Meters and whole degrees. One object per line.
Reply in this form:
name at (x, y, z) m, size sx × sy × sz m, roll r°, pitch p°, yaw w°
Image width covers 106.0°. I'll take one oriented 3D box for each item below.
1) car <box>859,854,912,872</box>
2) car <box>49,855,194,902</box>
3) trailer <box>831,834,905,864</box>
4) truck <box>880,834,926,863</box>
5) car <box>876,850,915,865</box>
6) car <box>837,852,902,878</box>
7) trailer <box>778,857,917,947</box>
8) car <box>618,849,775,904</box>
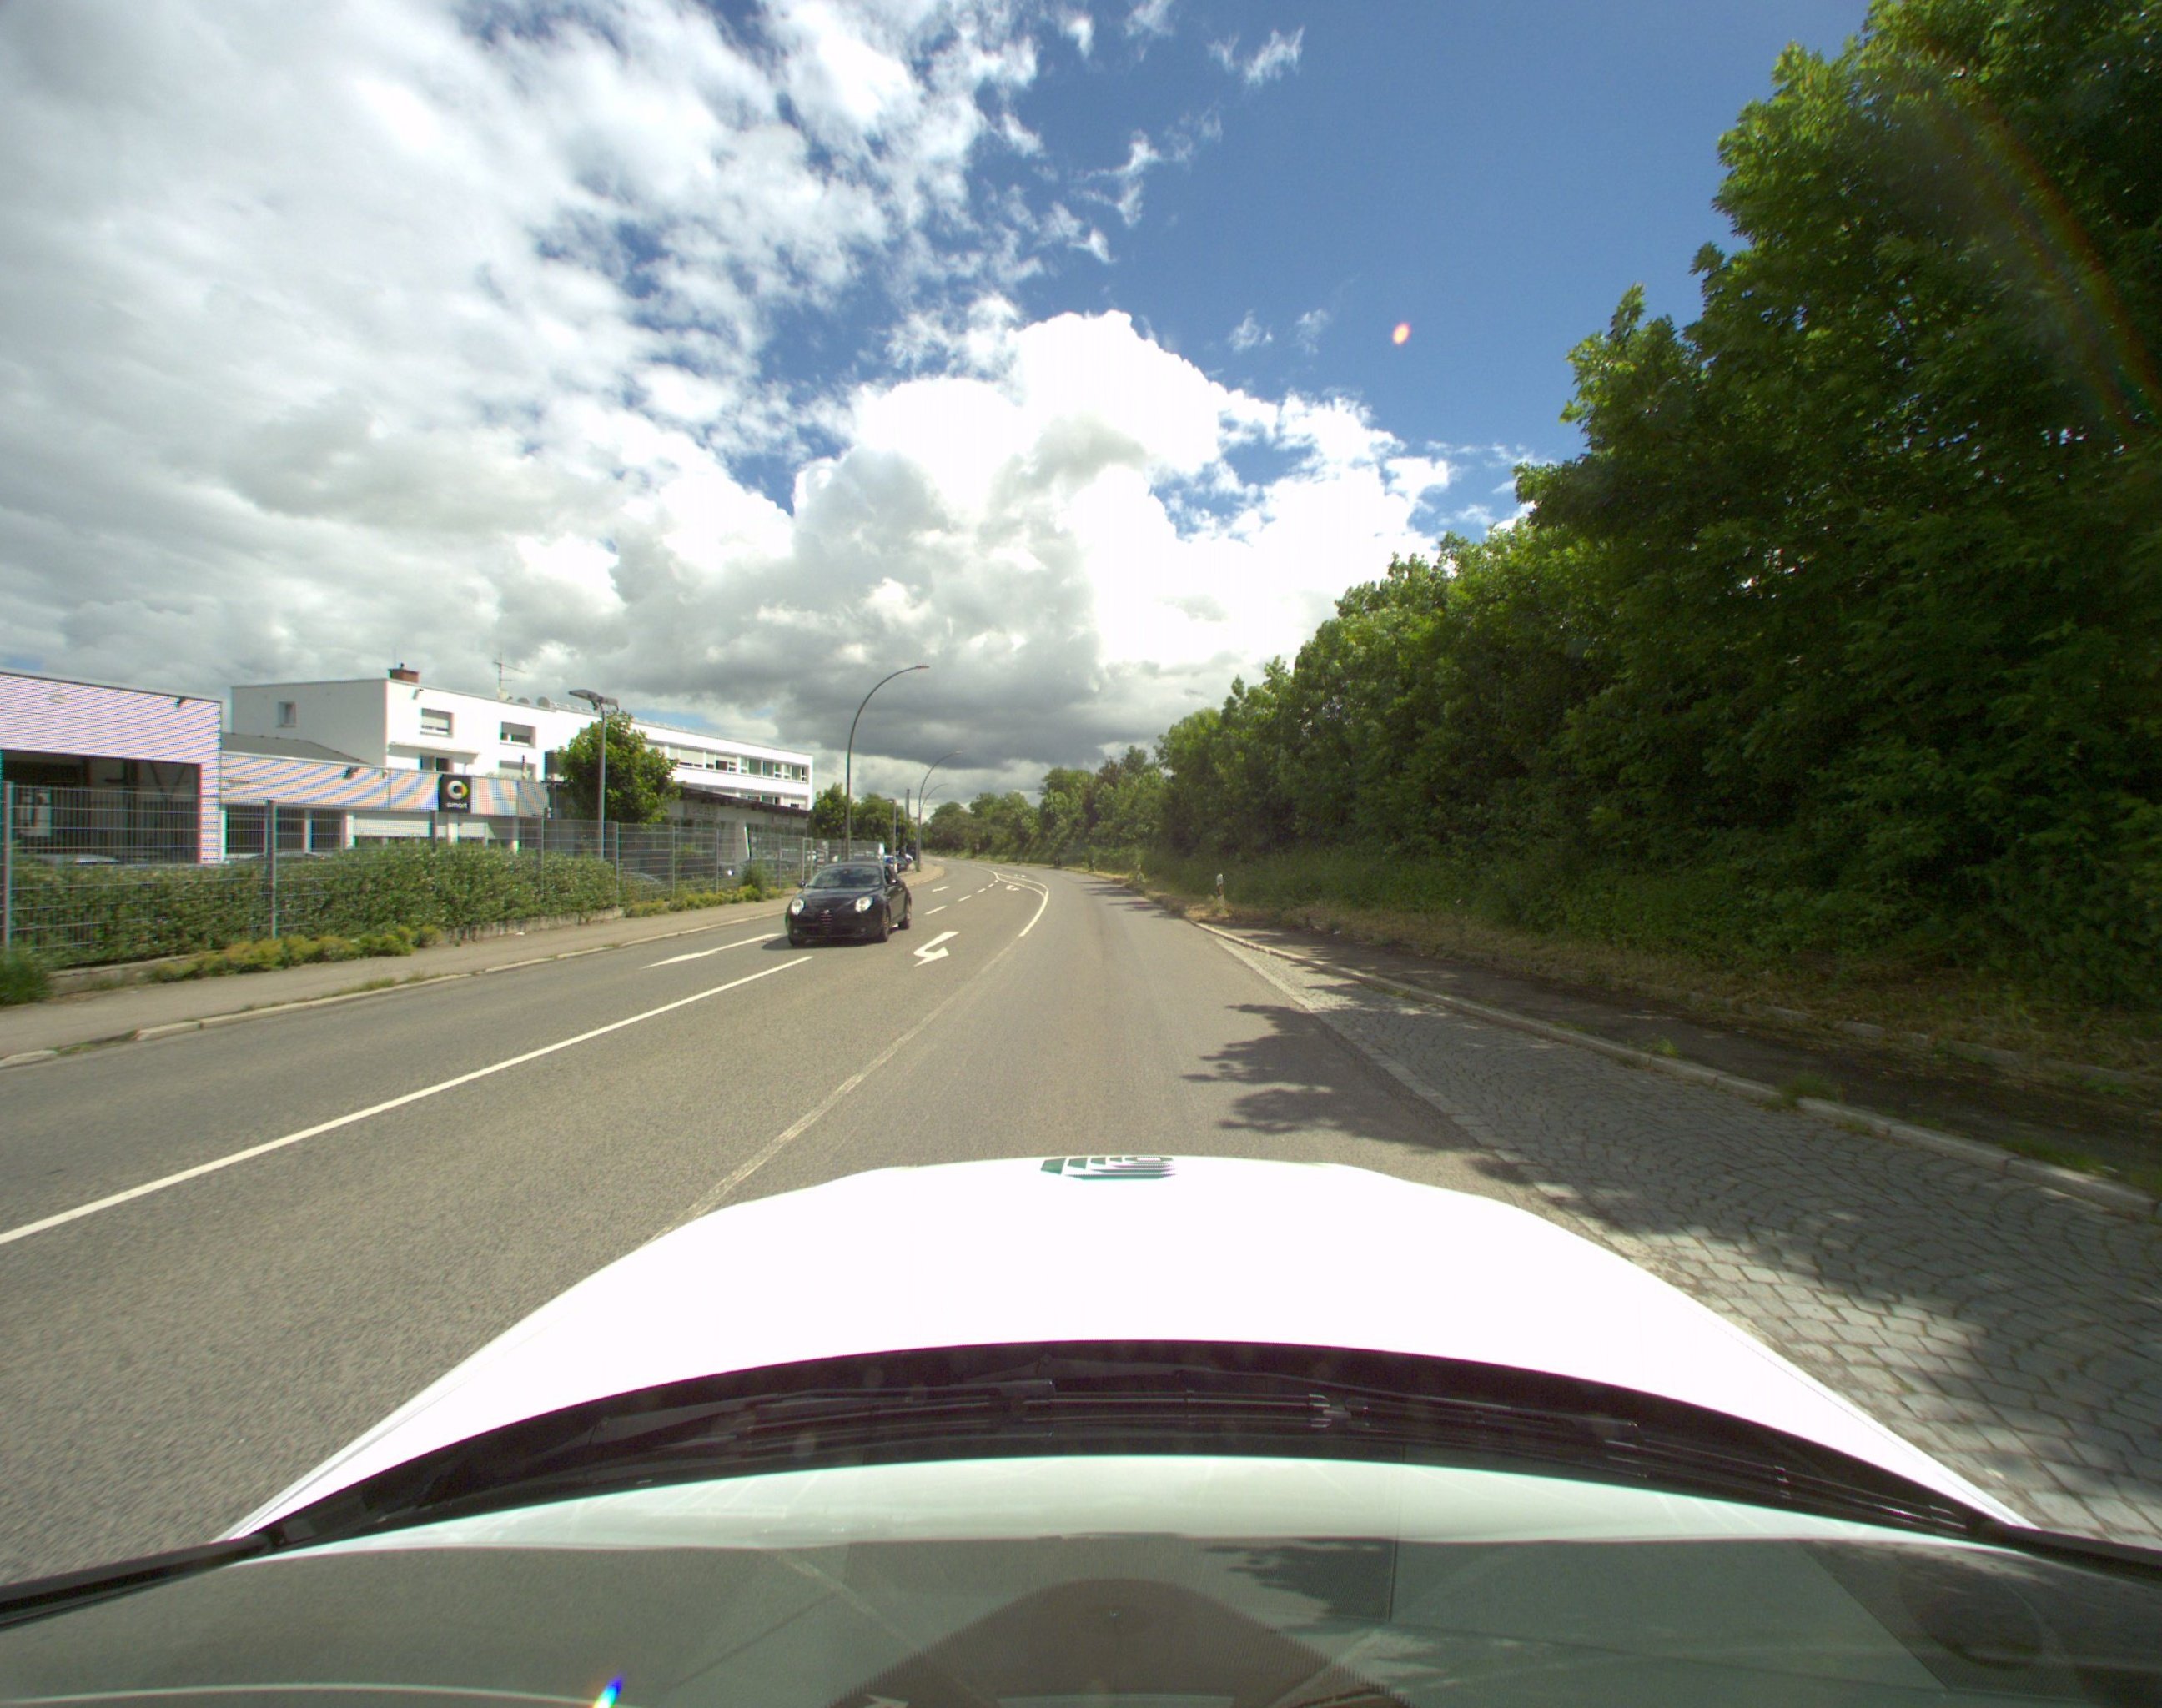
car at (-16.912, 0.777, 70.487) m, size 4.154 × 1.479 × 1.805 m, roll 1°, pitch 0°, yaw 23°
car at (-29.942, 0.740, 25.438) m, size 3.303 × 1.357 × 1.587 m, roll 1°, pitch 0°, yaw 14°
trailer at (-30.526, -0.750, 116.868) m, size 9.773 × 4.093 × 2.802 m, roll -1°, pitch 1°, yaw -26°
truck at (-26.001, -0.815, 119.092) m, size 6.149 × 4.093 × 2.802 m, roll -1°, pitch 1°, yaw -25°
car at (-23.060, 0.418, 101.320) m, size 4.338 × 1.763 × 1.976 m, roll 1°, pitch 0°, yaw -42°
car at (-15.062, 0.768, 57.981) m, size 3.939 × 1.700 × 2.185 m, roll 1°, pitch 0°, yaw 23°
trailer at (-4.283, 0.804, 15.551) m, size 1.643 × 1.423 × 3.996 m, roll -1°, pitch 0°, yaw -3°
car at (-12.807, 0.741, 27.342) m, size 4.176 × 1.700 × 2.174 m, roll 1°, pitch 0°, yaw 1°
